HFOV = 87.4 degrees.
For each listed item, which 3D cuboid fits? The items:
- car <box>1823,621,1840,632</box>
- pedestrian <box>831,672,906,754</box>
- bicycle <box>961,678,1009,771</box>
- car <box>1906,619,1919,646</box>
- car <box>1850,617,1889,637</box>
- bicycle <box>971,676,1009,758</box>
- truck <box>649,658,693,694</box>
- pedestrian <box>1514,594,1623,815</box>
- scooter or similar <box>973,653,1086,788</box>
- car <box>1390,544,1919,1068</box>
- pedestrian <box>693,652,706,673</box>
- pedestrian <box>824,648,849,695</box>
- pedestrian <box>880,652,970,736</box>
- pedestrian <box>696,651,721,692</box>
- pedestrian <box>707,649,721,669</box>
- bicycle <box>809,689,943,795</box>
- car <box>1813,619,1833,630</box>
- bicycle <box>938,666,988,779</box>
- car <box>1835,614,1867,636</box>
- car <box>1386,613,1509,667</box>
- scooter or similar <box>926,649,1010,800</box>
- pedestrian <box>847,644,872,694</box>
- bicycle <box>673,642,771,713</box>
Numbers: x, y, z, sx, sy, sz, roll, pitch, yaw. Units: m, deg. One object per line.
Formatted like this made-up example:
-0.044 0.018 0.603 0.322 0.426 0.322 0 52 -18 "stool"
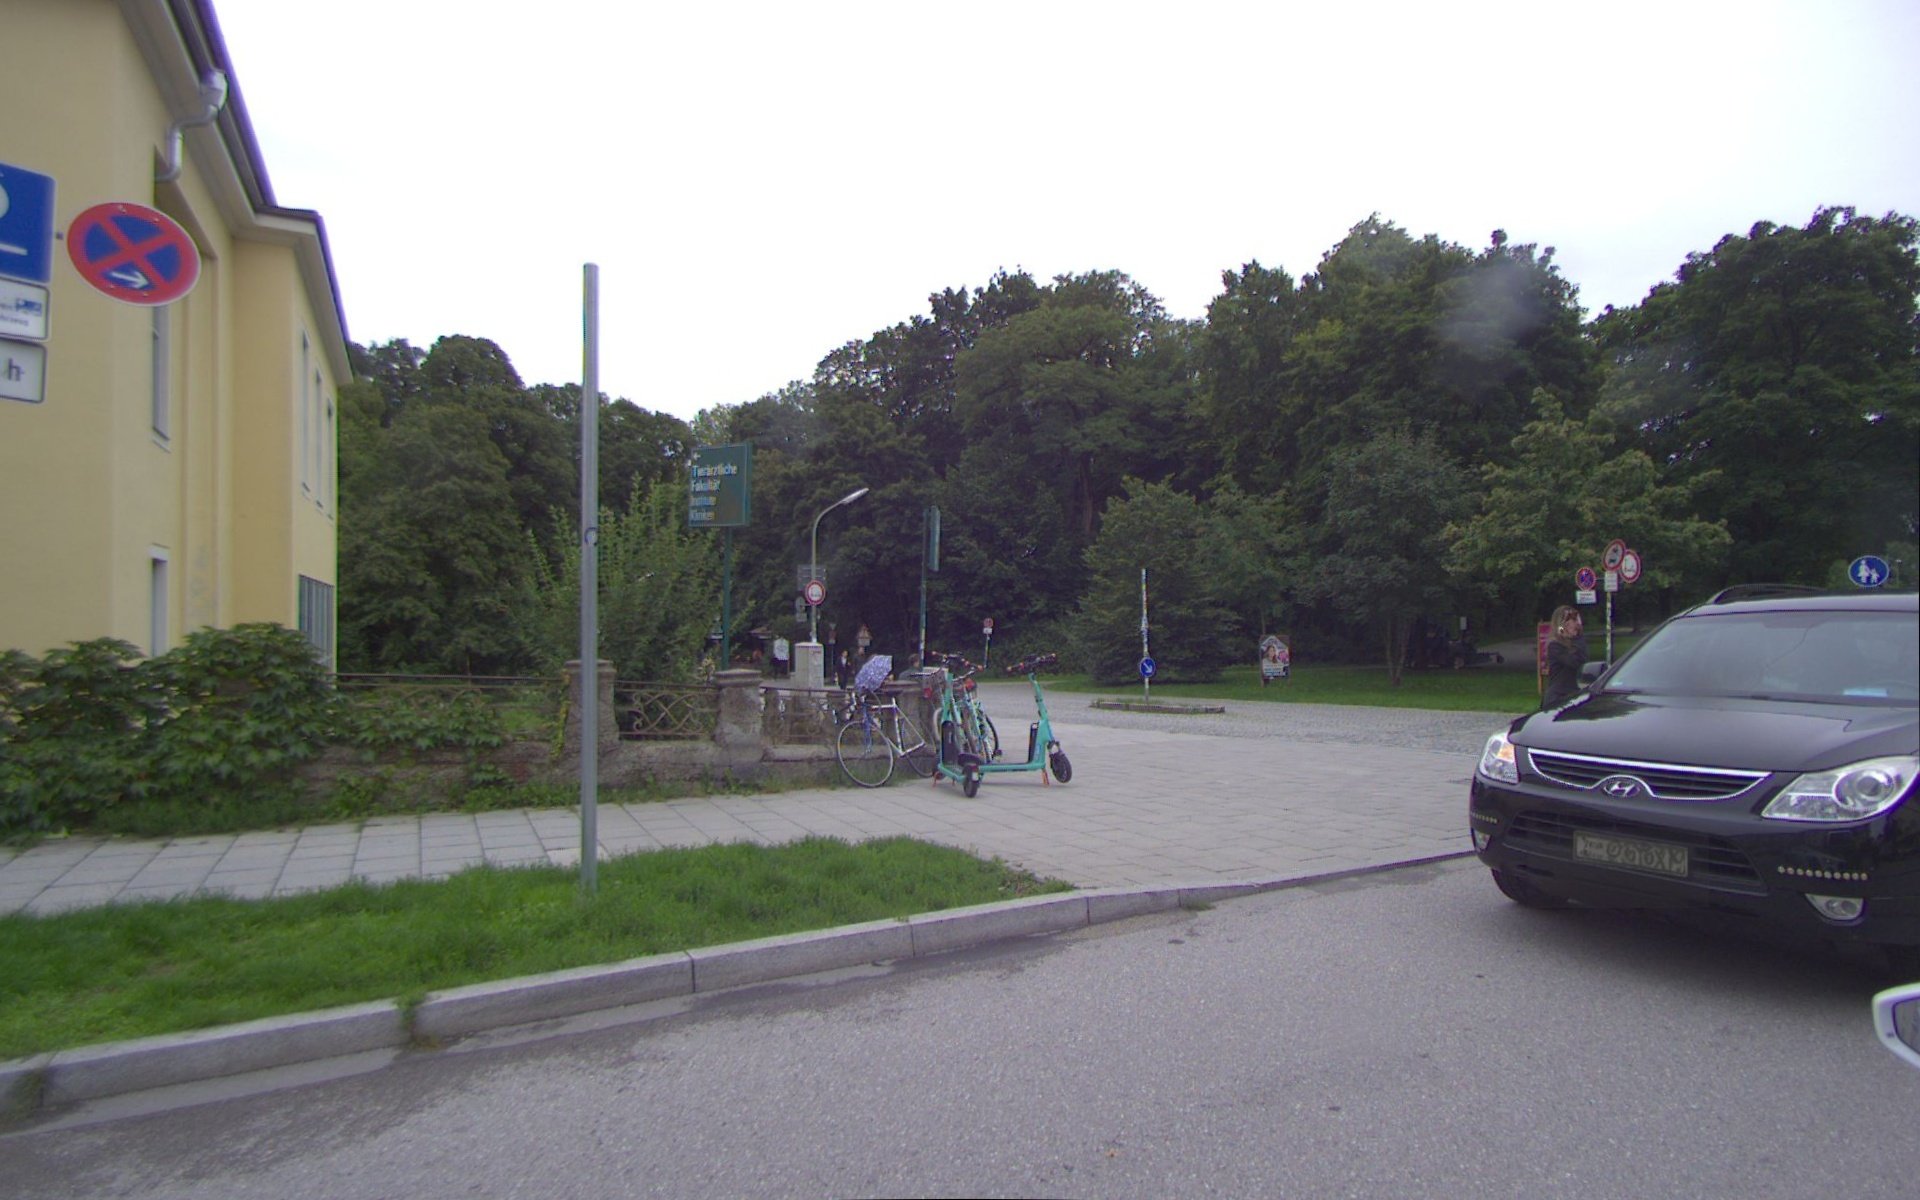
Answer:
137.848 4.245 158.886 1.783 1.680 4.225 -1 -2 44 "car"
-1.652 2.004 18.028 1.022 1.353 0.946 1 -1 -35 "pedestrian"
0.314 1.454 11.956 0.406 0.990 1.277 -1 -2 8 "bicycle"
61.446 2.032 63.563 1.769 1.702 3.986 -1 -1 36 "car"
77.168 2.283 85.287 1.968 1.622 4.239 -1 -2 36 "car"
0.392 1.542 13.465 0.406 0.990 1.276 -1 -2 -2 "bicycle"
-22.560 5.874 78.162 2.369 2.493 5.457 0 -1 -27 "truck"
5.017 0.832 8.278 0.661 1.719 0.537 1 -3 -40 "pedestrian"
0.671 1.153 9.726 1.032 1.228 0.440 2 -2 3 "scooter or similar"
4.632 0.727 5.379 4.561 1.742 1.984 1 -1 -31 "car"
-21.455 5.132 82.810 0.865 1.674 0.733 -1 -2 -4 "pedestrian"
-4.346 2.496 35.217 0.682 1.602 0.747 0 -1 -24 "pedestrian"
-0.579 1.528 16.599 1.253 1.285 0.842 1 -1 -35 "pedestrian"
-10.950 3.087 43.733 0.741 1.728 1.102 0 -1 -32 "pedestrian"
-20.413 4.876 83.394 0.723 1.674 0.877 -2 -2 44 "pedestrian"
-0.780 1.319 9.590 0.428 0.905 1.323 -1 -3 42 "bicycle"
133.371 3.825 155.151 4.438 1.622 1.974 1 -2 -45 "car"
0.047 1.312 11.045 0.295 1.125 1.192 1 -2 12 "bicycle"
82.517 2.305 93.105 2.042 1.992 4.954 -1 -2 40 "car"
18.972 1.560 39.215 3.920 2.040 1.789 0 -2 3 "car"
0.054 1.106 9.273 0.388 1.260 1.260 2 -2 -16 "scooter or similar"
-3.569 2.441 35.661 0.652 1.720 0.746 0 -1 -26 "pedestrian"
-6.191 1.958 25.995 1.045 1.683 3.111 1 -2 -44 "bicycle"
